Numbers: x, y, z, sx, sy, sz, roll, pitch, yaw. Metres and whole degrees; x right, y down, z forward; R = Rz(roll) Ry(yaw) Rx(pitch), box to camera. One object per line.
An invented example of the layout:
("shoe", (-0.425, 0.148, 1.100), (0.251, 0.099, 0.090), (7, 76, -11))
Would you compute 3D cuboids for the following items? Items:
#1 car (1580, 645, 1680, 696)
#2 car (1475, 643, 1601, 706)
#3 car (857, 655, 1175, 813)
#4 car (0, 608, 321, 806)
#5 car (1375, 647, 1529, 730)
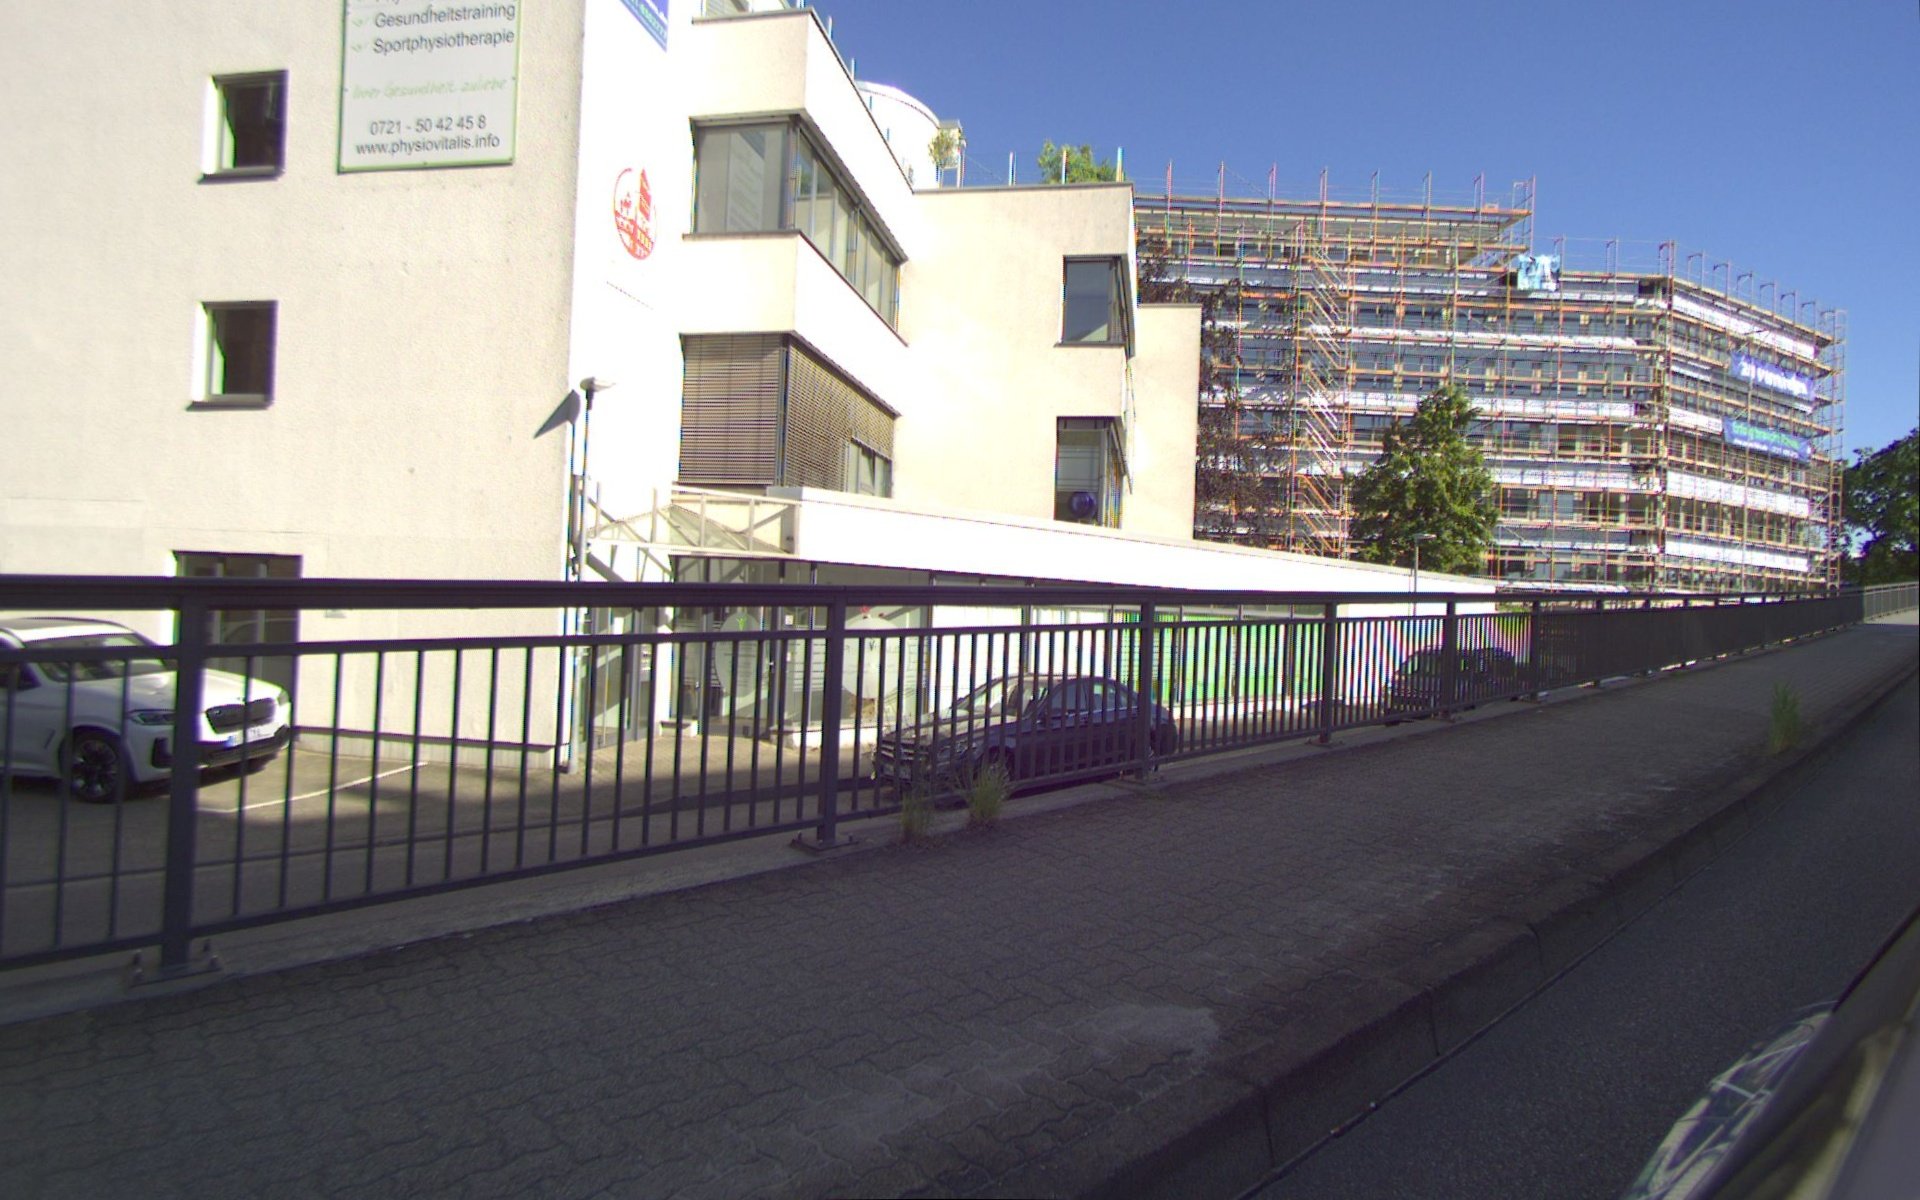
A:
("car", (21.089, 2.171, 31.803), (3.931, 1.410, 1.723), (1, -1, -42))
("car", (14.982, 1.865, 26.162), (3.931, 1.410, 1.723), (1, -1, -42))
("car", (0.811, 1.545, 12.812), (3.929, 1.541, 1.724), (1, -1, -41))
("car", (-9.566, 1.019, 10.850), (4.455, 1.707, 1.840), (2, 0, 9))
("car", (10.861, 1.859, 22.232), (3.931, 1.541, 1.723), (1, -1, -42))
